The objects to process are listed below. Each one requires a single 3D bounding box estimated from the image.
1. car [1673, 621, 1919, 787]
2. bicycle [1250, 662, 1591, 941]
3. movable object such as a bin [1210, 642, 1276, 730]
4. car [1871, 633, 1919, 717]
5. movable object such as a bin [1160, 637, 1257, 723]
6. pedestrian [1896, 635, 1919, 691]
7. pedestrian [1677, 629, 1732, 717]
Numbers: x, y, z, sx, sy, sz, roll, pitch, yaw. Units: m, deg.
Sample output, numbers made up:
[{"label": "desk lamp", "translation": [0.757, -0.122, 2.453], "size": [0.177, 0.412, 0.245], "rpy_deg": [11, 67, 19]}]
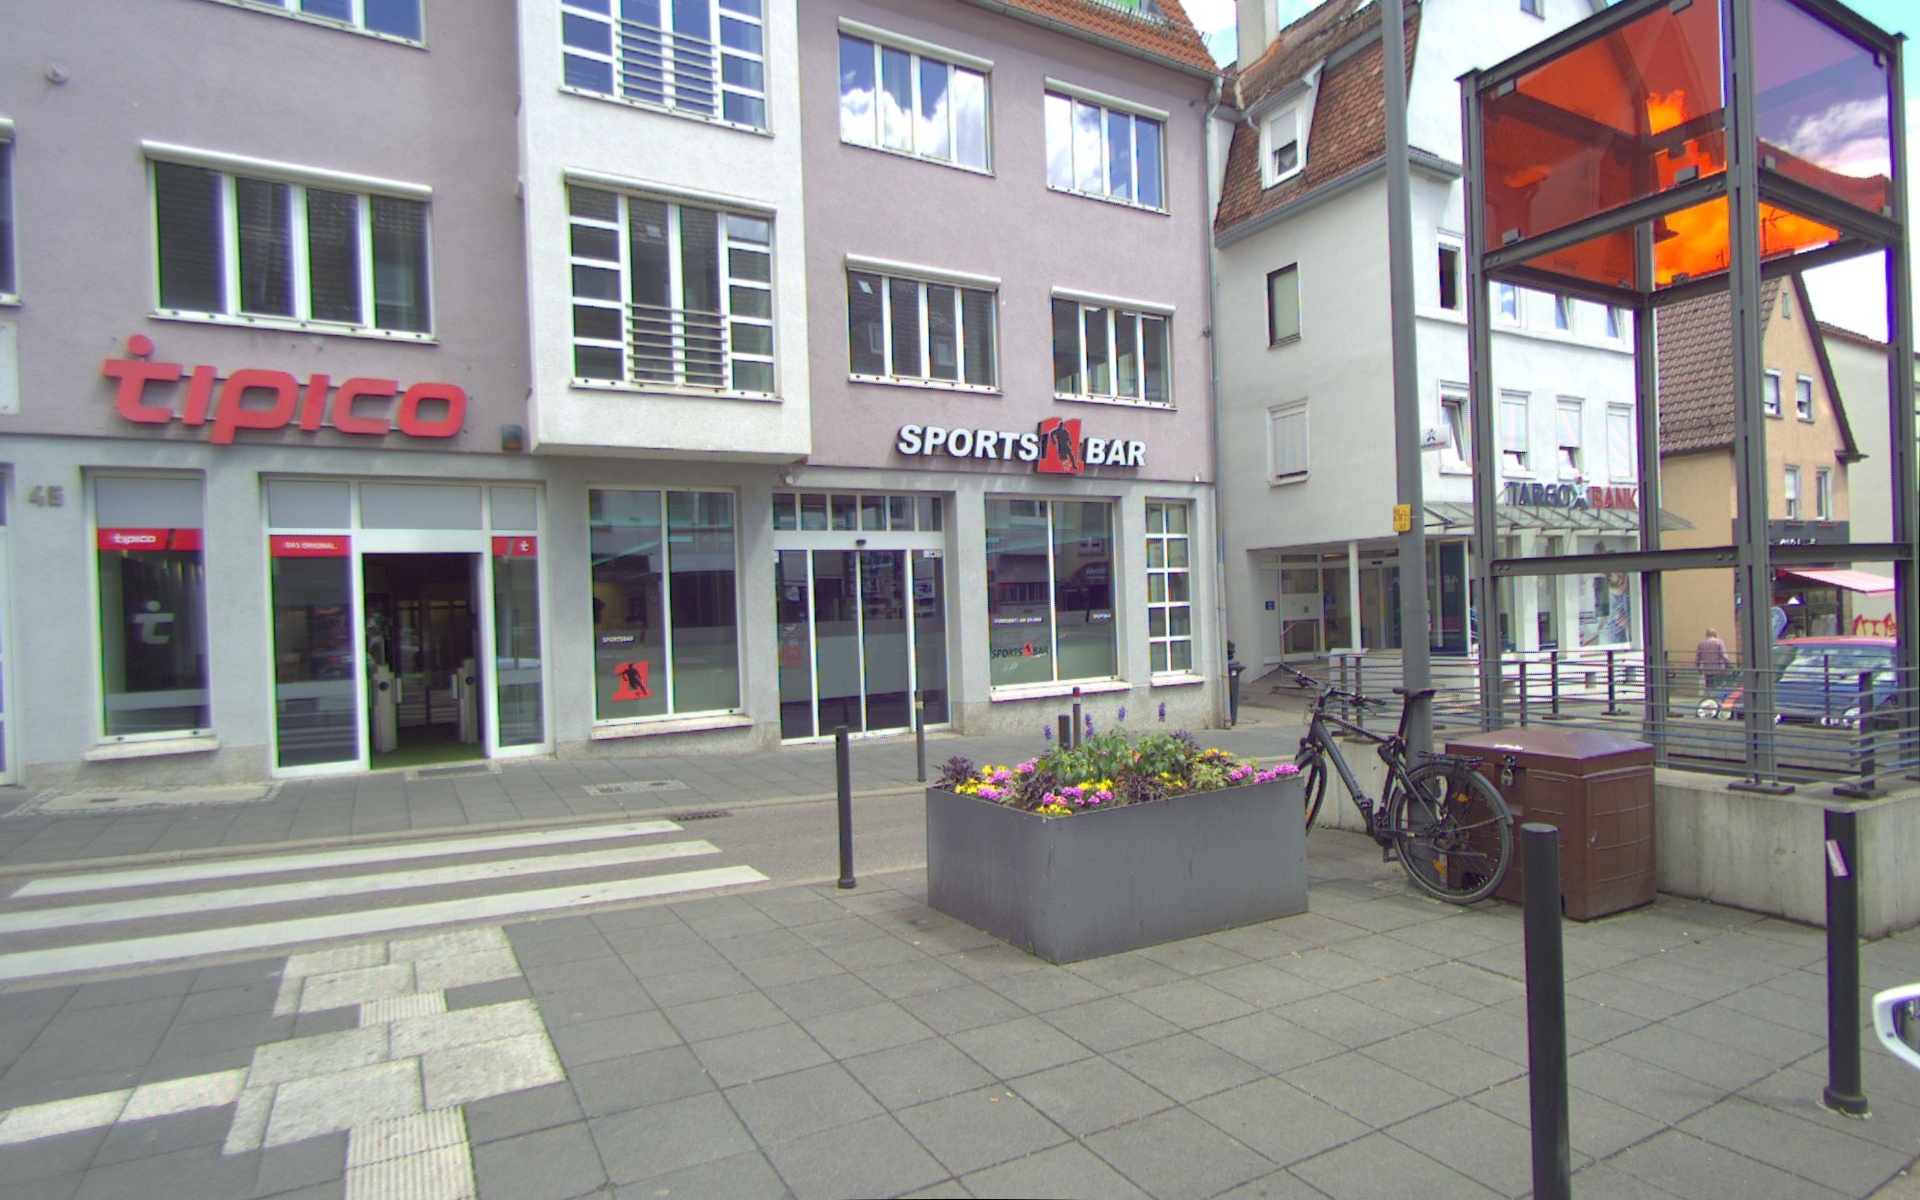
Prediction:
[{"label": "car", "translation": [9.559, 1.026, 10.955], "size": [3.813, 1.495, 1.560], "rpy_deg": [2, 0, -32]}, {"label": "bicycle", "translation": [2.427, 0.984, 5.537], "size": [0.454, 1.239, 1.769], "rpy_deg": [2, -2, -31]}, {"label": "movable object such as a bin", "translation": [4.643, 1.388, 16.510], "size": [0.798, 1.394, 0.686], "rpy_deg": [1, -1, -31]}, {"label": "car", "translation": [20.399, 1.525, 20.424], "size": [4.075, 1.592, 1.671], "rpy_deg": [2, 0, -31]}, {"label": "movable object such as a bin", "translation": [4.310, 1.355, 17.449], "size": [1.055, 1.394, 1.277], "rpy_deg": [1, -1, -30]}, {"label": "pedestrian", "translation": [27.381, 1.801, 28.807], "size": [0.708, 1.594, 0.562], "rpy_deg": [1, -3, -31]}, {"label": "pedestrian", "translation": [15.008, 1.450, 20.250], "size": [0.818, 1.711, 0.636], "rpy_deg": [2, -1, -32]}]
